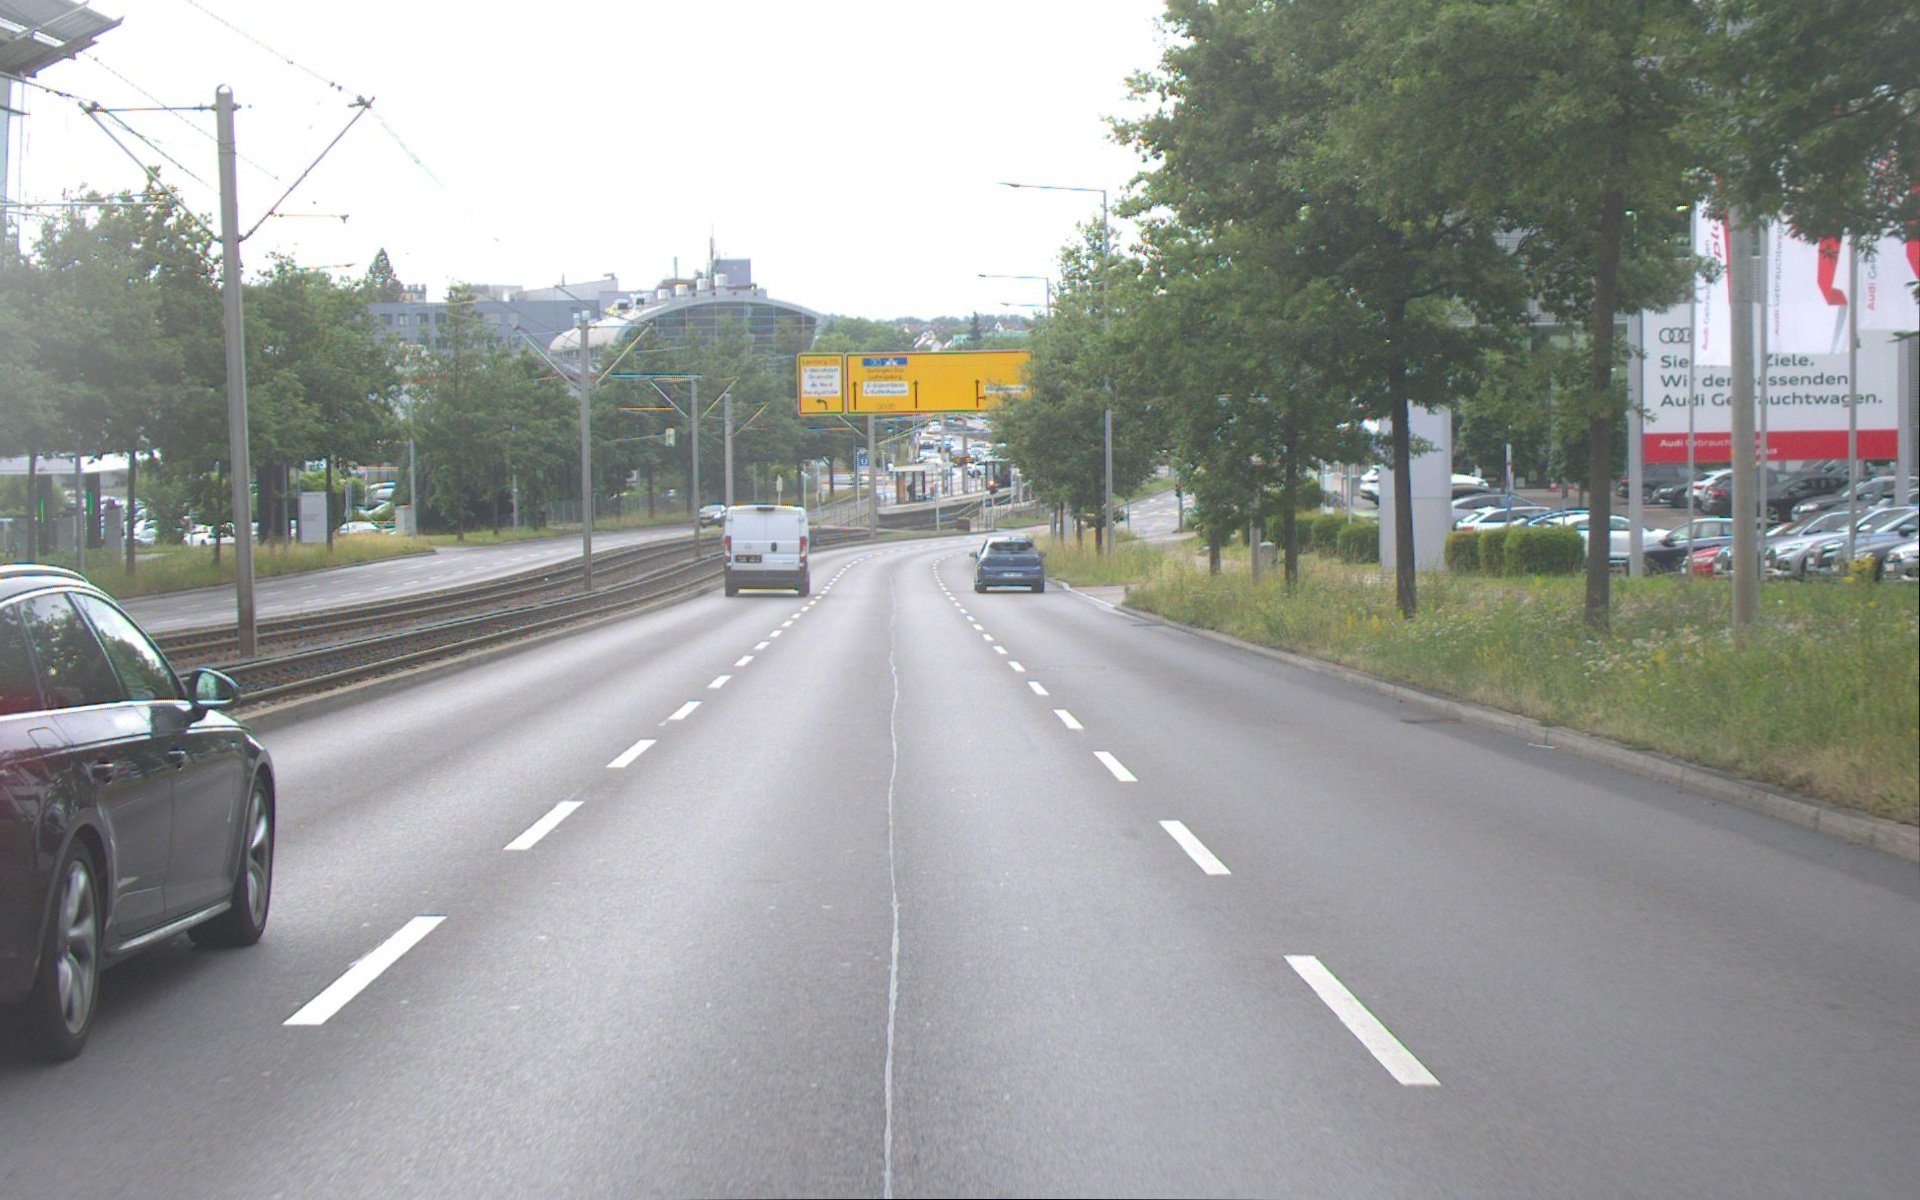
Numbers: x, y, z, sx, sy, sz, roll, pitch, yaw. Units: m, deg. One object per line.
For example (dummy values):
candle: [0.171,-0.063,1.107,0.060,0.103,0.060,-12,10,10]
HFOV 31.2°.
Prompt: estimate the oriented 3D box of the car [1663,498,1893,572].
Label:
car: [17.796,-1.409,74.896,4.460,1.545,1.931,-1,1,-6]

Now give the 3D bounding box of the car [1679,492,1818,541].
car: [26.095,-2.783,113.849,4.105,1.568,1.826,0,2,-2]

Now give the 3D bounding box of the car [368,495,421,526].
car: [-31.264,-4.948,190.207,1.994,1.645,4.000,1,1,4]

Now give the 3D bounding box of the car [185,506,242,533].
car: [-43.827,-4.712,201.790,1.993,1.505,4.000,1,1,-32]

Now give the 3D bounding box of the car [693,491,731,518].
car: [-15.440,-5.951,214.345,1.883,1.515,4.403,-3,2,1]

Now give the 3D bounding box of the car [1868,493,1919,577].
car: [18.392,-1.154,60.145,4.461,1.451,1.931,-1,1,-2]

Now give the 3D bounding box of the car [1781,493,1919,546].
car: [27.700,-2.490,106.498,4.105,1.569,1.693,-1,1,-2]

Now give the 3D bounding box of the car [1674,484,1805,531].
car: [26.990,-3.215,119.097,4.105,1.568,1.693,0,2,-2]

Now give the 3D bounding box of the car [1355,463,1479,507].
car: [16.824,-4.244,126.657,4.259,1.568,1.693,0,2,-2]

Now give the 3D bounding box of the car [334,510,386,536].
car: [-35.821,-4.610,205.203,1.993,1.505,4.001,1,1,-26]

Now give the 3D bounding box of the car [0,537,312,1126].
car: [-3.367,0.545,11.031,1.764,1.458,4.627,1,1,-1]

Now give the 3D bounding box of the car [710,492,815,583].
car: [-4.952,-1.550,86.135,2.511,2.169,5.150,1,1,-3]

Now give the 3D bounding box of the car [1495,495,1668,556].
car: [16.507,-1.968,91.402,4.104,1.588,1.949,0,0,-9]

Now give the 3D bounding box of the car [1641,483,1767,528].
car: [26.866,-3.421,124.165,4.105,1.568,1.760,0,2,-2]

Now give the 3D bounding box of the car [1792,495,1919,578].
car: [18.451,-1.236,65.980,4.461,1.523,1.931,-1,1,-2]

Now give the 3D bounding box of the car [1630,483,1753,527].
car: [26.985,-3.517,126.893,4.105,1.568,1.693,0,2,-2]

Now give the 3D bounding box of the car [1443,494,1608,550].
car: [16.612,-2.296,101.091,4.519,1.588,1.693,0,1,-2]

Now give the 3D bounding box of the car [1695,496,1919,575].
car: [17.719,-1.342,71.777,4.276,1.588,1.827,-1,1,-3]

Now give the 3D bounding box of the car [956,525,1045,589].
car: [1.045,-1.140,90.809,2.021,1.617,4.001,1,1,-3]

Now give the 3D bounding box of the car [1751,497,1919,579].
car: [18.346,-1.256,68.961,4.461,1.545,1.931,-2,1,-2]
